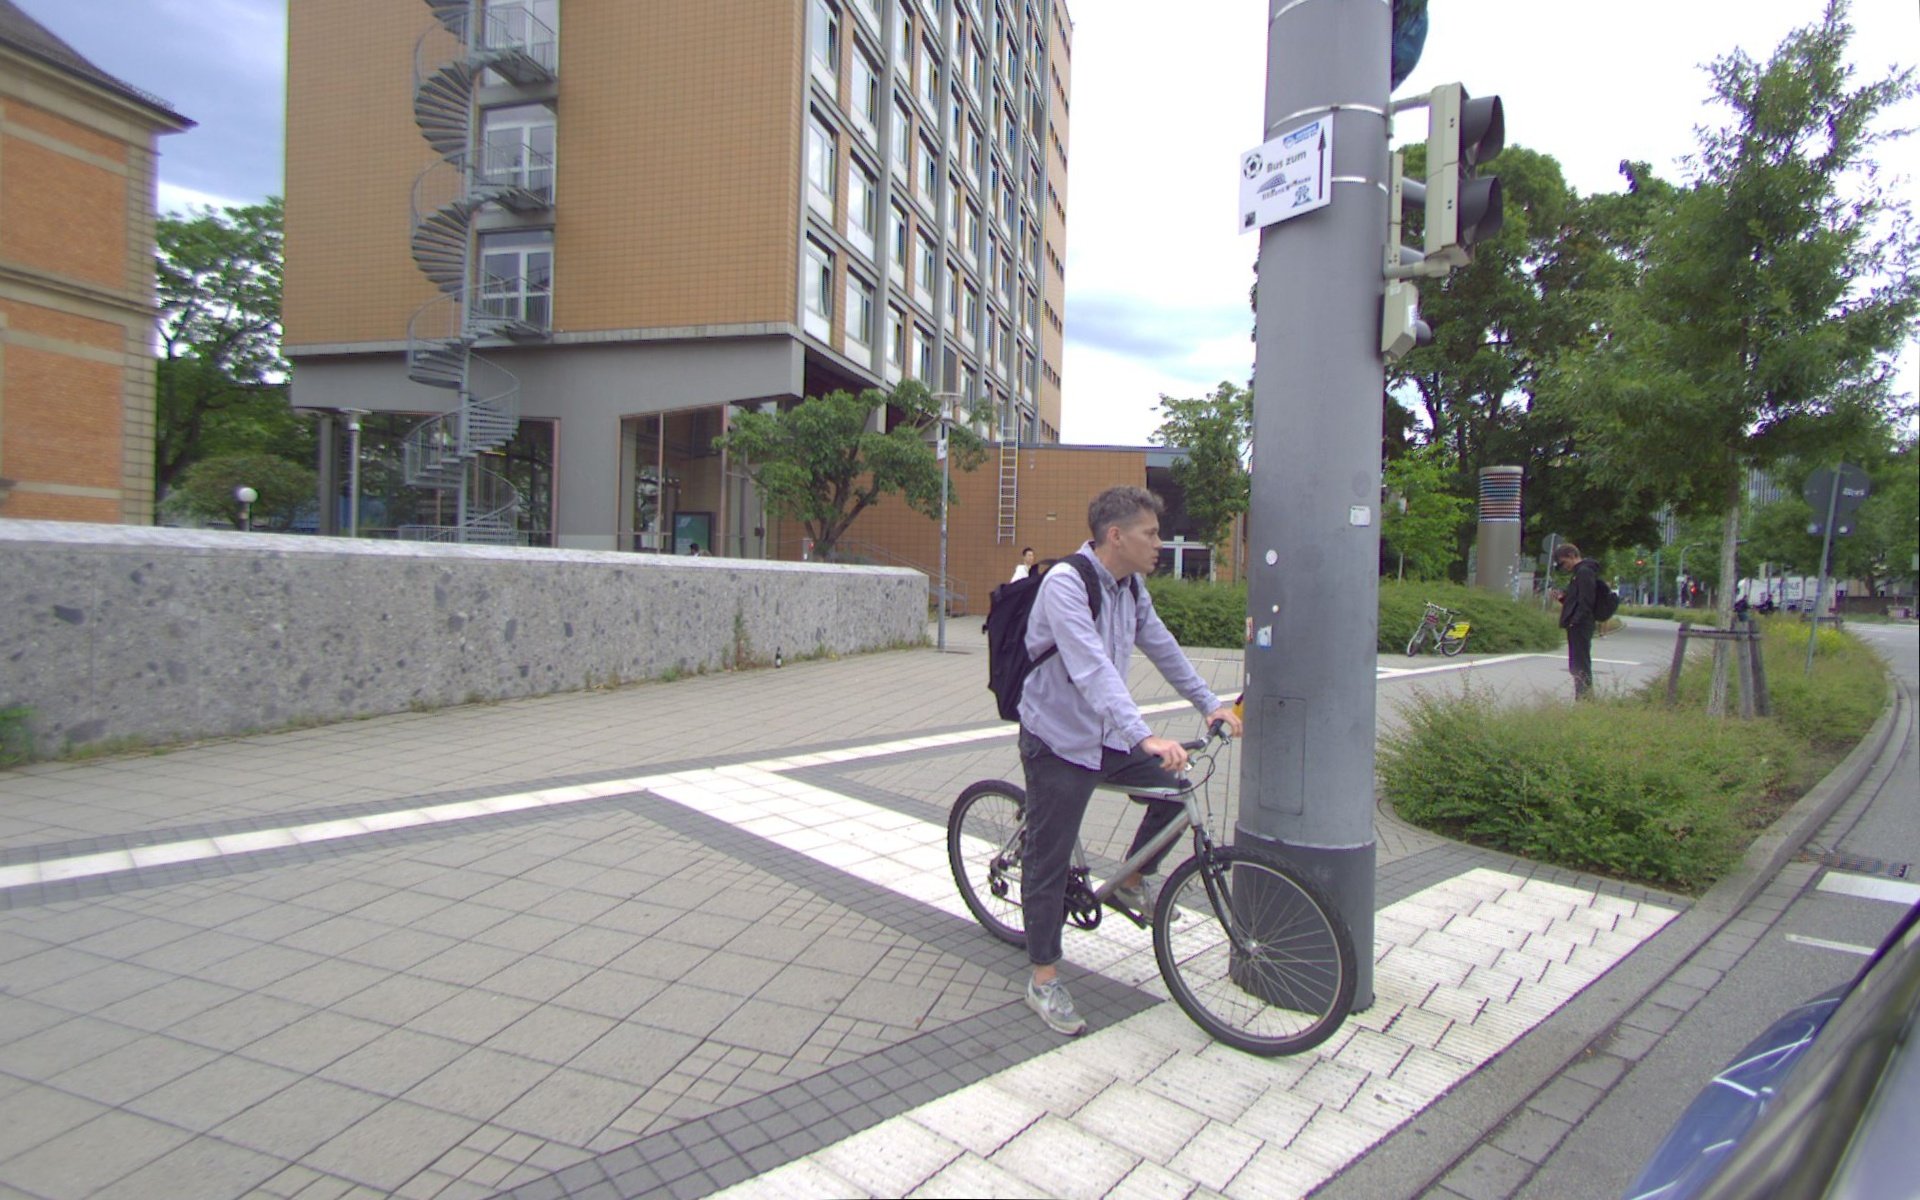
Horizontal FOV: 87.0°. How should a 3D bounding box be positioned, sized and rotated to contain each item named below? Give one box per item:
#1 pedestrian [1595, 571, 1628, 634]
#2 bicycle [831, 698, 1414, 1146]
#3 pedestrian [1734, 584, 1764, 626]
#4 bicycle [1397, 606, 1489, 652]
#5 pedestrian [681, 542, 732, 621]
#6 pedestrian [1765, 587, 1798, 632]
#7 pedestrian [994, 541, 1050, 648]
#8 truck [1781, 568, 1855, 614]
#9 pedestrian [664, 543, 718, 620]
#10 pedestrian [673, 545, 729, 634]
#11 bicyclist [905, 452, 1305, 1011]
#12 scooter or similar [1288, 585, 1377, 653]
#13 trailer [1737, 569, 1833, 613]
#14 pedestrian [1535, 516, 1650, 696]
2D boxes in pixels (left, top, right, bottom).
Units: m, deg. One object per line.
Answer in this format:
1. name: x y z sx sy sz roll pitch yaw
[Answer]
1. pedestrian: 19.479 0.080 30.255 0.629 1.822 0.588 6 3 42
2. bicycle: 0.453 0.901 3.446 1.820 0.850 0.756 5 3 42
3. pedestrian: 36.031 0.216 46.226 0.707 1.822 0.598 3 3 -1
4. bicycle: 9.567 0.570 20.015 2.031 0.859 0.559 1 1 -29
5. pedestrian: -5.807 -0.424 23.228 0.864 1.758 0.719 1 1 23
6. pedestrian: 34.415 0.396 42.416 0.707 1.822 0.598 3 3 -1
7. pedestrian: 1.092 -0.108 17.794 0.696 1.828 0.831 2 1 26
8. truck: 80.205 -0.844 94.773 2.877 4.075 7.115 0 0 19
9. pedestrian: -5.919 -0.412 22.279 0.864 1.651 0.719 1 1 23
10. pedestrian: -5.228 -0.213 20.445 0.859 1.752 0.723 1 1 8
11. bicyclist: 0.473 0.347 3.435 1.097 1.539 0.748 2 1 42
12. scooter or similar: 7.348 0.356 20.036 1.581 1.306 0.692 0 0 15
13. trailer: 82.925 -0.881 102.092 2.910 4.064 13.723 0 0 19
14. pedestrian: 7.138 0.054 11.458 0.861 1.952 0.722 1 1 13
